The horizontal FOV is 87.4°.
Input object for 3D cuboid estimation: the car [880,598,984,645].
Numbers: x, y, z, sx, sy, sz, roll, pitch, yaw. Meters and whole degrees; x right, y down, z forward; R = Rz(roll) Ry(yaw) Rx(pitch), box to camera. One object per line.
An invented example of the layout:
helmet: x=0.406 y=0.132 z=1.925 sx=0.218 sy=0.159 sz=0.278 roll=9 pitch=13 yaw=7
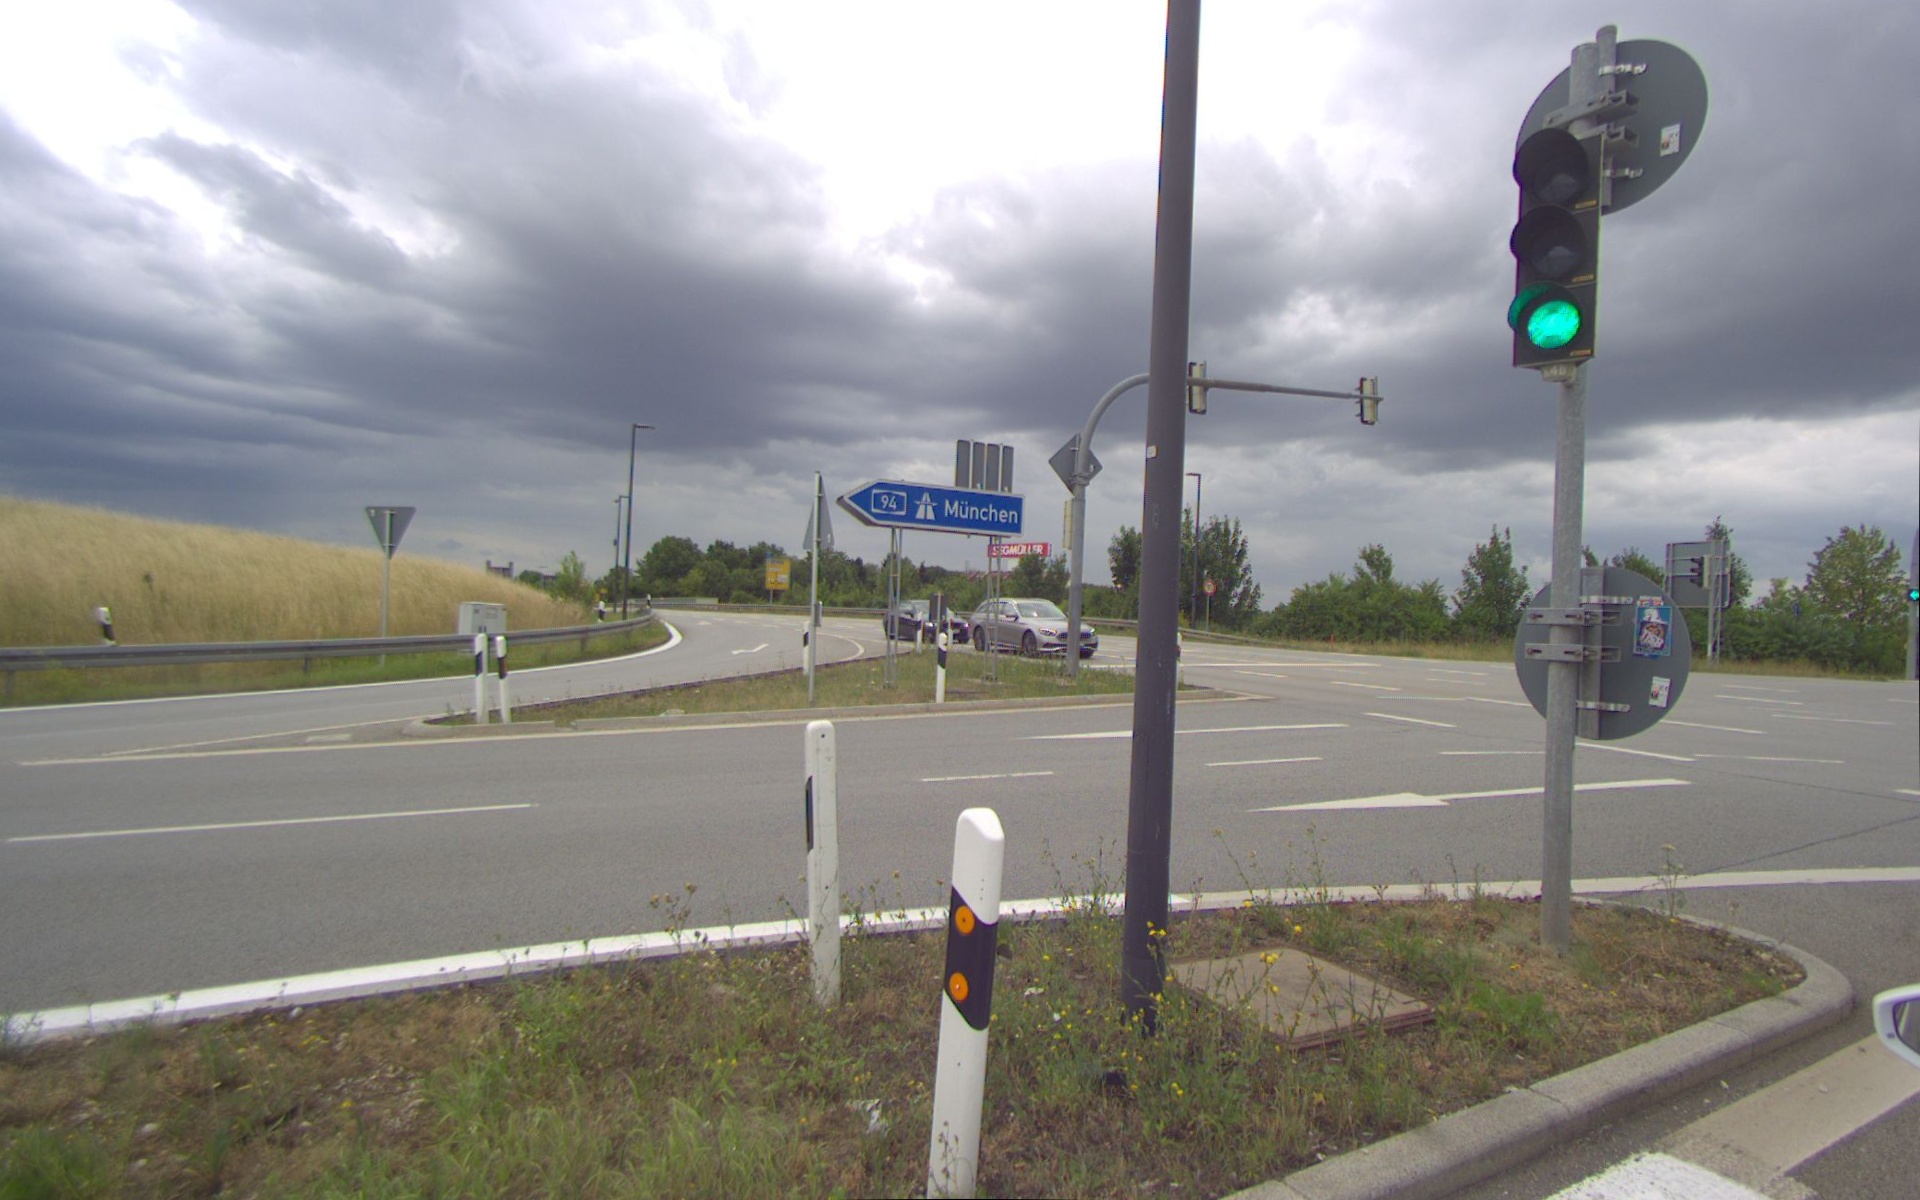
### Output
car: x=-1.024 y=0.695 z=33.750 sx=1.690 sy=1.429 sz=4.643 roll=2 pitch=-1 yaw=-26

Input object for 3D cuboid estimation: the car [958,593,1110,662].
car: x=1.869 y=0.670 z=27.228 sx=1.896 sy=1.632 sz=4.915 roll=1 pitch=1 yaw=-26
